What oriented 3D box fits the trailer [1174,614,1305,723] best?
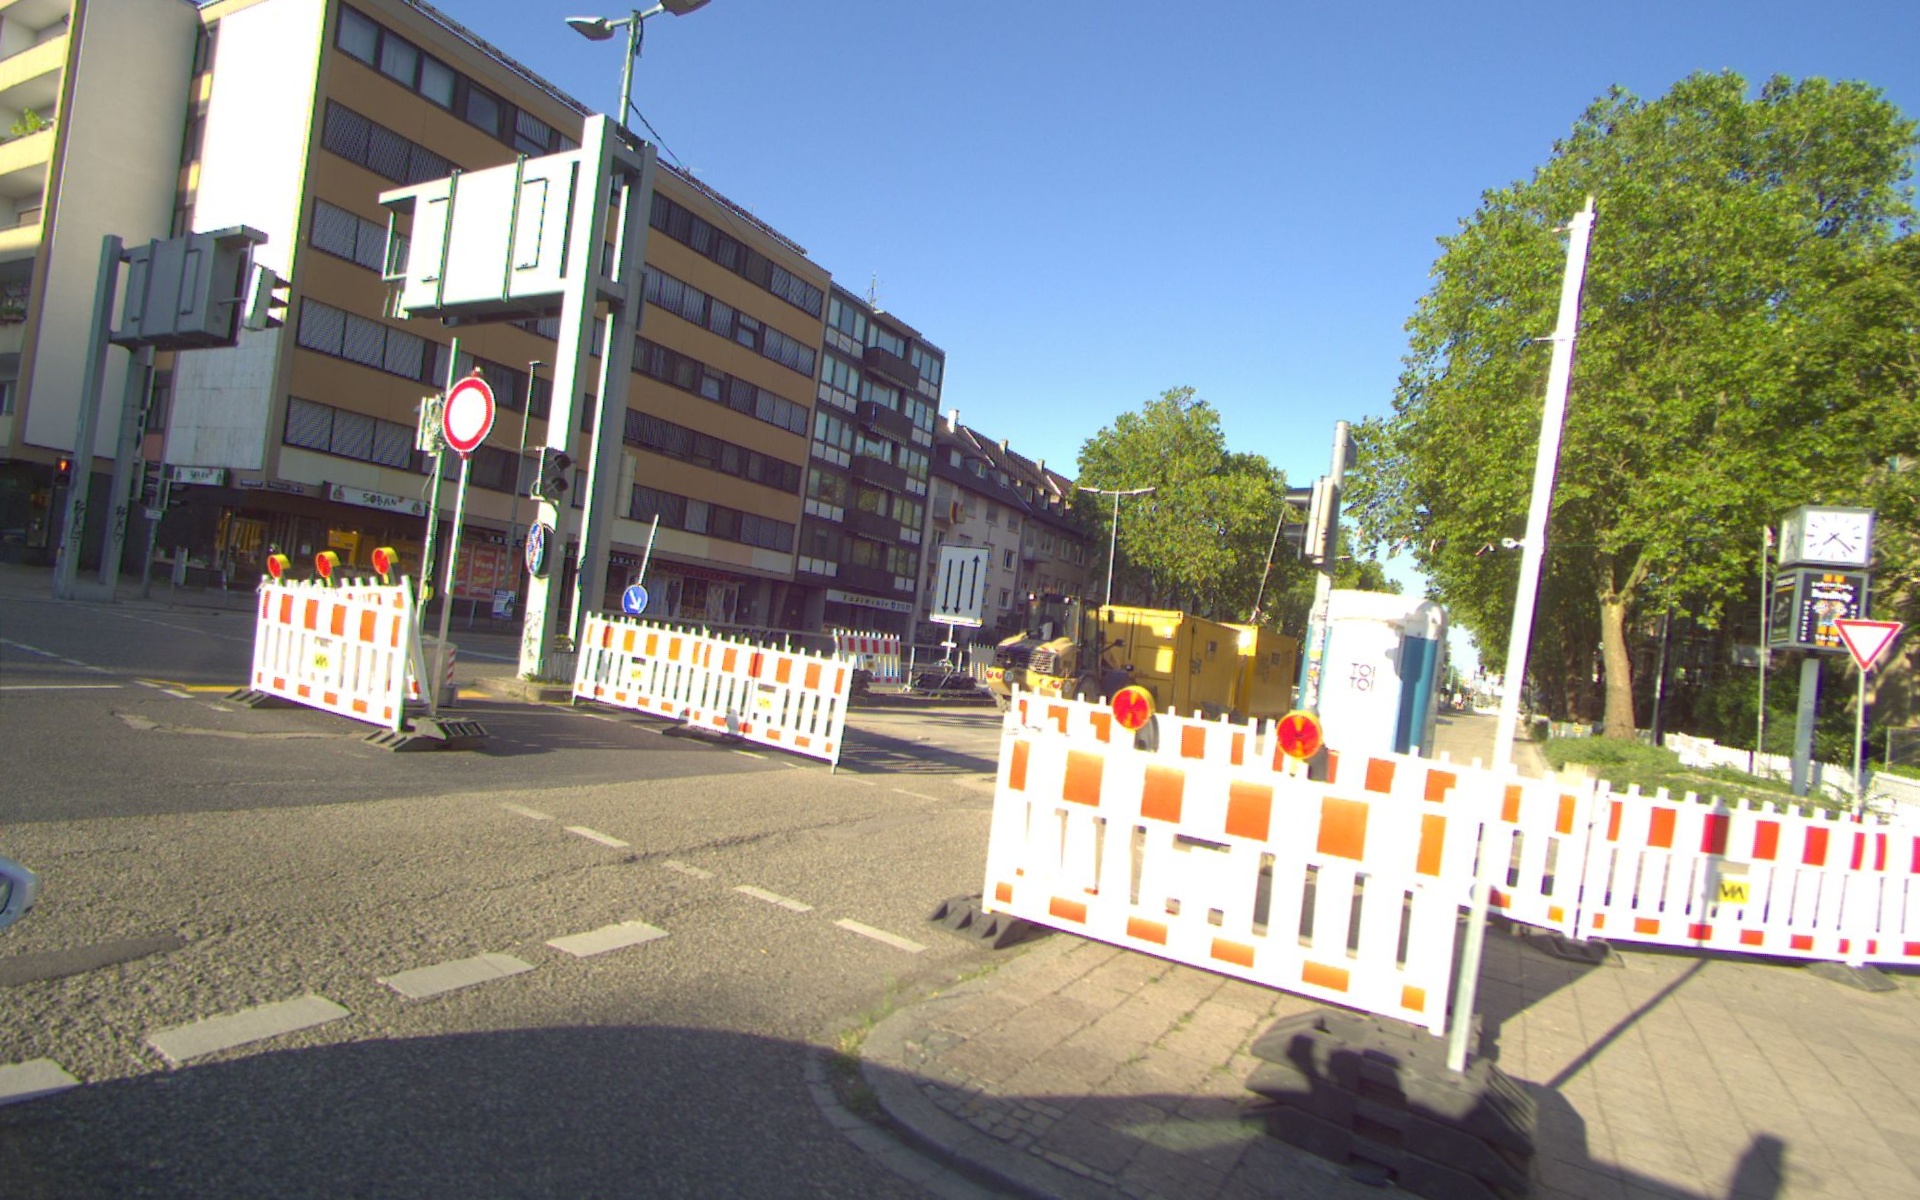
[{"bbox_3d":[9.379,2.354,33.294,2.367,3.050,6.123,6,-2,31],"label":"trailer"}]

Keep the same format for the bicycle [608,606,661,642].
[{"bbox_3d":[-12.307,0.911,38.013,1.971,1.109,0.528,7,-1,24],"label":"bicycle"}]

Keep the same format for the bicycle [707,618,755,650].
[{"bbox_3d":[-9.739,1.439,42.752,1.971,1.109,0.528,7,-1,24],"label":"bicycle"}]

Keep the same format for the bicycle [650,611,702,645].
[{"bbox_3d":[-11.317,1.123,40.060,1.971,1.109,0.528,7,-1,24],"label":"bicycle"}]

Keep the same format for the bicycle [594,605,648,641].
[{"bbox_3d":[-12.636,0.847,37.500,1.971,1.109,0.528,7,-1,24],"label":"bicycle"}]

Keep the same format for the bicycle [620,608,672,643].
[{"bbox_3d":[-12.068,0.967,38.635,1.972,1.109,0.528,6,-1,27],"label":"bicycle"}]

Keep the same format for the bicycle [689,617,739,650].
[{"bbox_3d":[-10.243,1.400,41.888,1.971,1.109,0.528,7,-1,24],"label":"bicycle"}]

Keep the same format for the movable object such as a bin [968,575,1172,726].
[{"bbox_3d":[2.490,1.174,21.168,1.967,2.623,5.208,6,-2,32],"label":"movable object such as a bin"}]

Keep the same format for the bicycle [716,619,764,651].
[{"bbox_3d":[-9.500,1.495,43.384,1.971,1.109,0.528,7,-1,24],"label":"bicycle"}]

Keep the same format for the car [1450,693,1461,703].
[{"bbox_3d":[103.302,20.410,209.504,1.741,1.725,3.997,6,-2,29],"label":"car"}]

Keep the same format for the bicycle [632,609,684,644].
[{"bbox_3d":[-11.769,1.028,39.176,1.972,1.109,0.528,6,-1,27],"label":"bicycle"}]

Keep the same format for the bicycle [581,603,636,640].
[{"bbox_3d":[-12.907,0.789,36.946,1.971,1.109,0.528,7,-1,24],"label":"bicycle"}]

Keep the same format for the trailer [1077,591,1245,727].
[{"bbox_3d":[5.473,1.642,26.469,2.497,2.900,6.128,7,-2,27],"label":"trailer"}]

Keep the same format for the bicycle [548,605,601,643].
[{"bbox_3d":[-13.609,0.839,35.514,1.974,1.109,0.527,6,-1,32],"label":"bicycle"}]

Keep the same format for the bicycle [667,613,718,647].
[{"bbox_3d":[-10.800,1.212,40.585,1.971,1.109,0.528,7,-1,24],"label":"bicycle"}]

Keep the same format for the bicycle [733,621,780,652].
[{"bbox_3d":[-8.981,1.604,44.391,1.971,1.109,0.528,7,-1,24],"label":"bicycle"}]
